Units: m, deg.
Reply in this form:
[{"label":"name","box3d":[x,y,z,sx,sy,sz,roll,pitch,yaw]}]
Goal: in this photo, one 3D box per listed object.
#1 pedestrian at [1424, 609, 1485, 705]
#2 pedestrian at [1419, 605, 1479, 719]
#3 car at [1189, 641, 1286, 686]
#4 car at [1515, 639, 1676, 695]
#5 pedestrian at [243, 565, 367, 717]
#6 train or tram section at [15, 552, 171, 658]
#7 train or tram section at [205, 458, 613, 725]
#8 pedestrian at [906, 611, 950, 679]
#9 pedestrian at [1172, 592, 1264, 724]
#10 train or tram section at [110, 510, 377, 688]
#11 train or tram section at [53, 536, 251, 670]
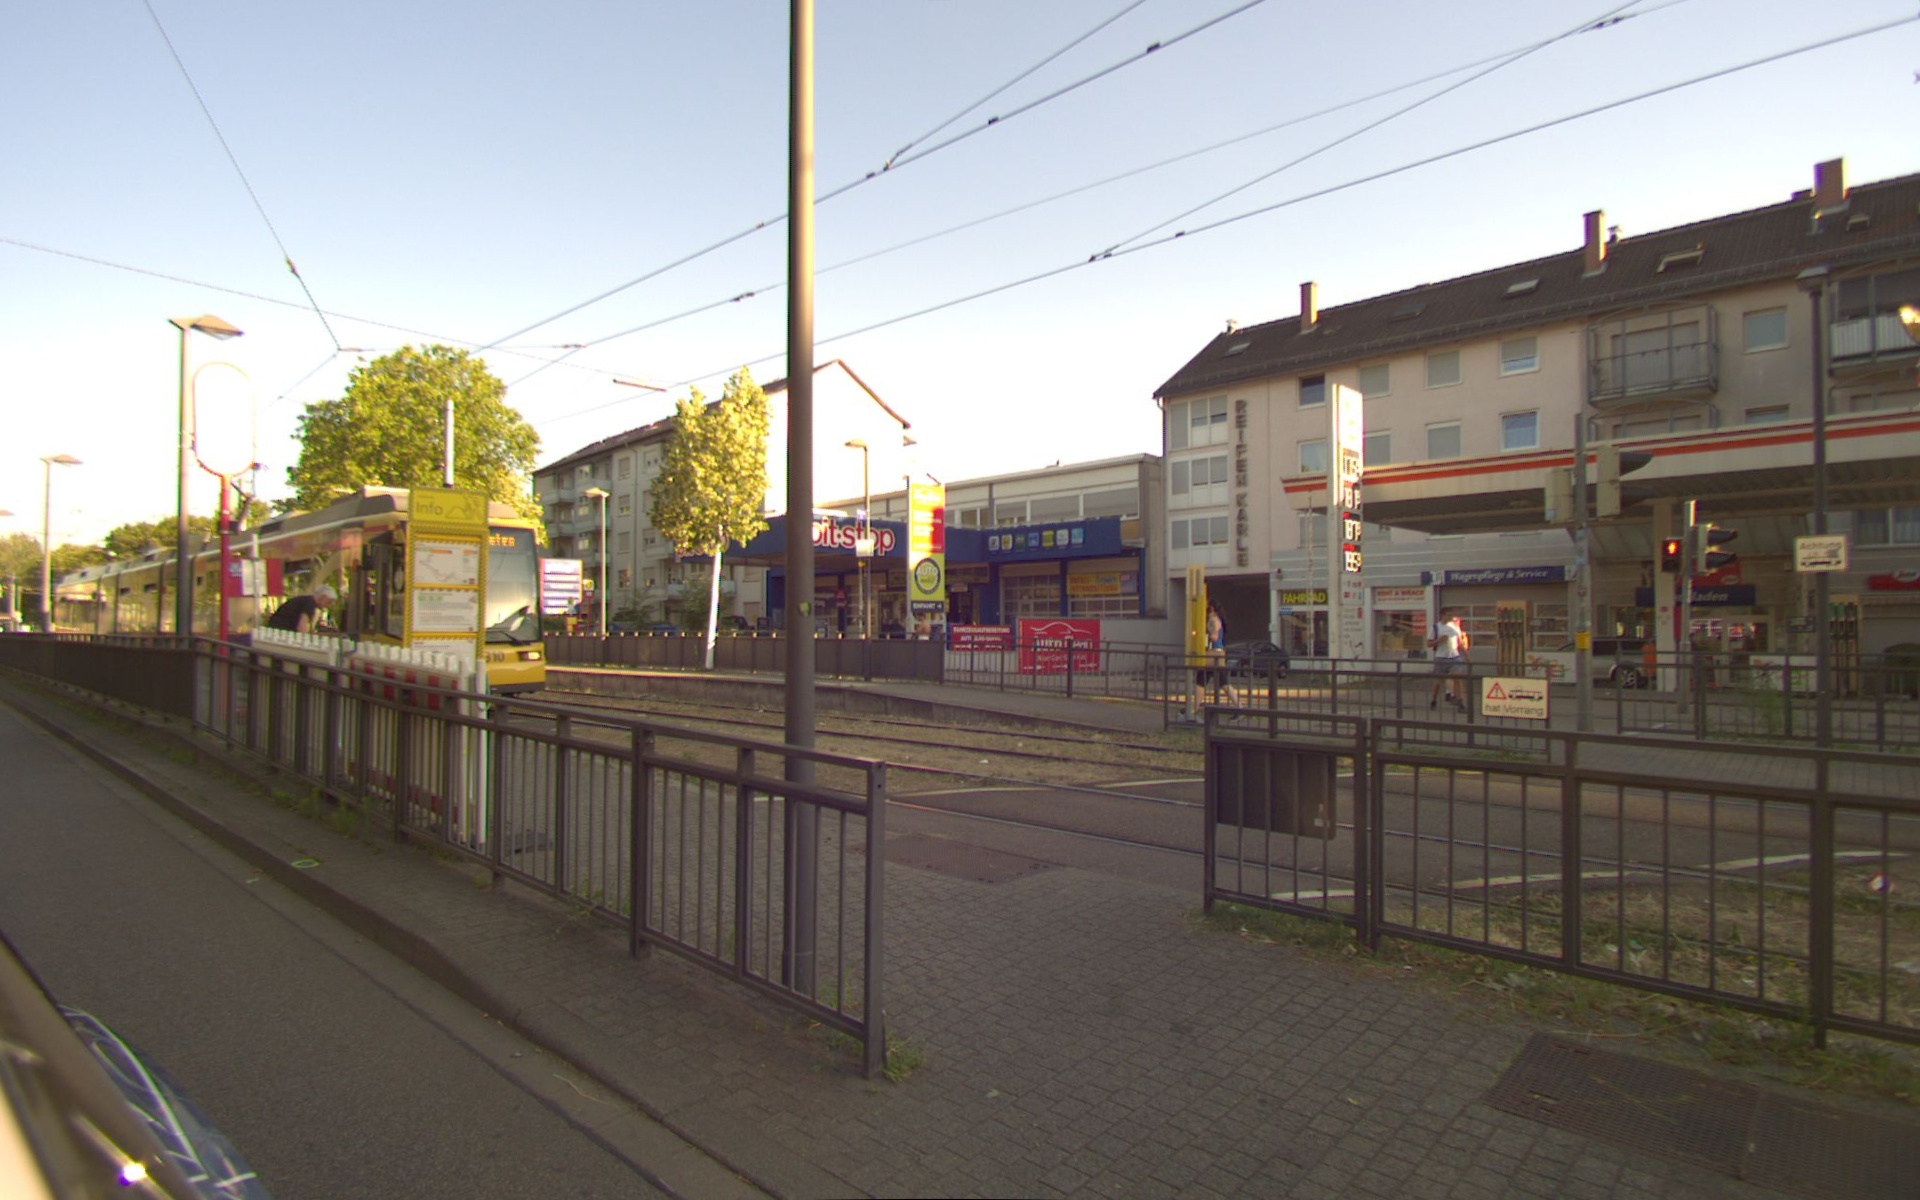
[{"label":"pedestrian","box3d":[9.313,1.054,19.053,0.859,1.760,0.745,-2,-3,39]},{"label":"pedestrian","box3d":[8.611,1.069,17.816,0.755,1.947,0.849,-2,-3,40]},{"label":"car","box3d":[10.242,2.309,37.298,3.751,1.535,1.819,2,-3,-45]},{"label":"car","box3d":[18.959,1.955,30.286,3.828,1.535,1.792,-2,-3,42]},{"label":"pedestrian","box3d":[-7.133,0.430,11.038,0.787,1.562,0.908,-1,-1,34]},{"label":"train or tram section","box3d":[-32.786,0.282,38.065,10.093,3.544,3.003,-1,-3,42]},{"label":"train or tram section","box3d":[-10.188,-0.002,17.905,10.093,3.544,3.003,-1,-3,42]},{"label":"pedestrian","box3d":[-0.924,1.297,29.397,1.000,1.896,0.745,-2,0,41]},{"label":"pedestrian","box3d":[3.445,0.750,13.498,0.923,1.666,0.928,-2,0,31]},{"label":"train or tram section","box3d":[-17.723,0.094,24.634,10.093,3.544,3.003,-1,-3,42]},{"label":"train or tram section","box3d":[-25.245,0.195,31.354,10.093,3.544,3.003,-1,-3,42]}]
